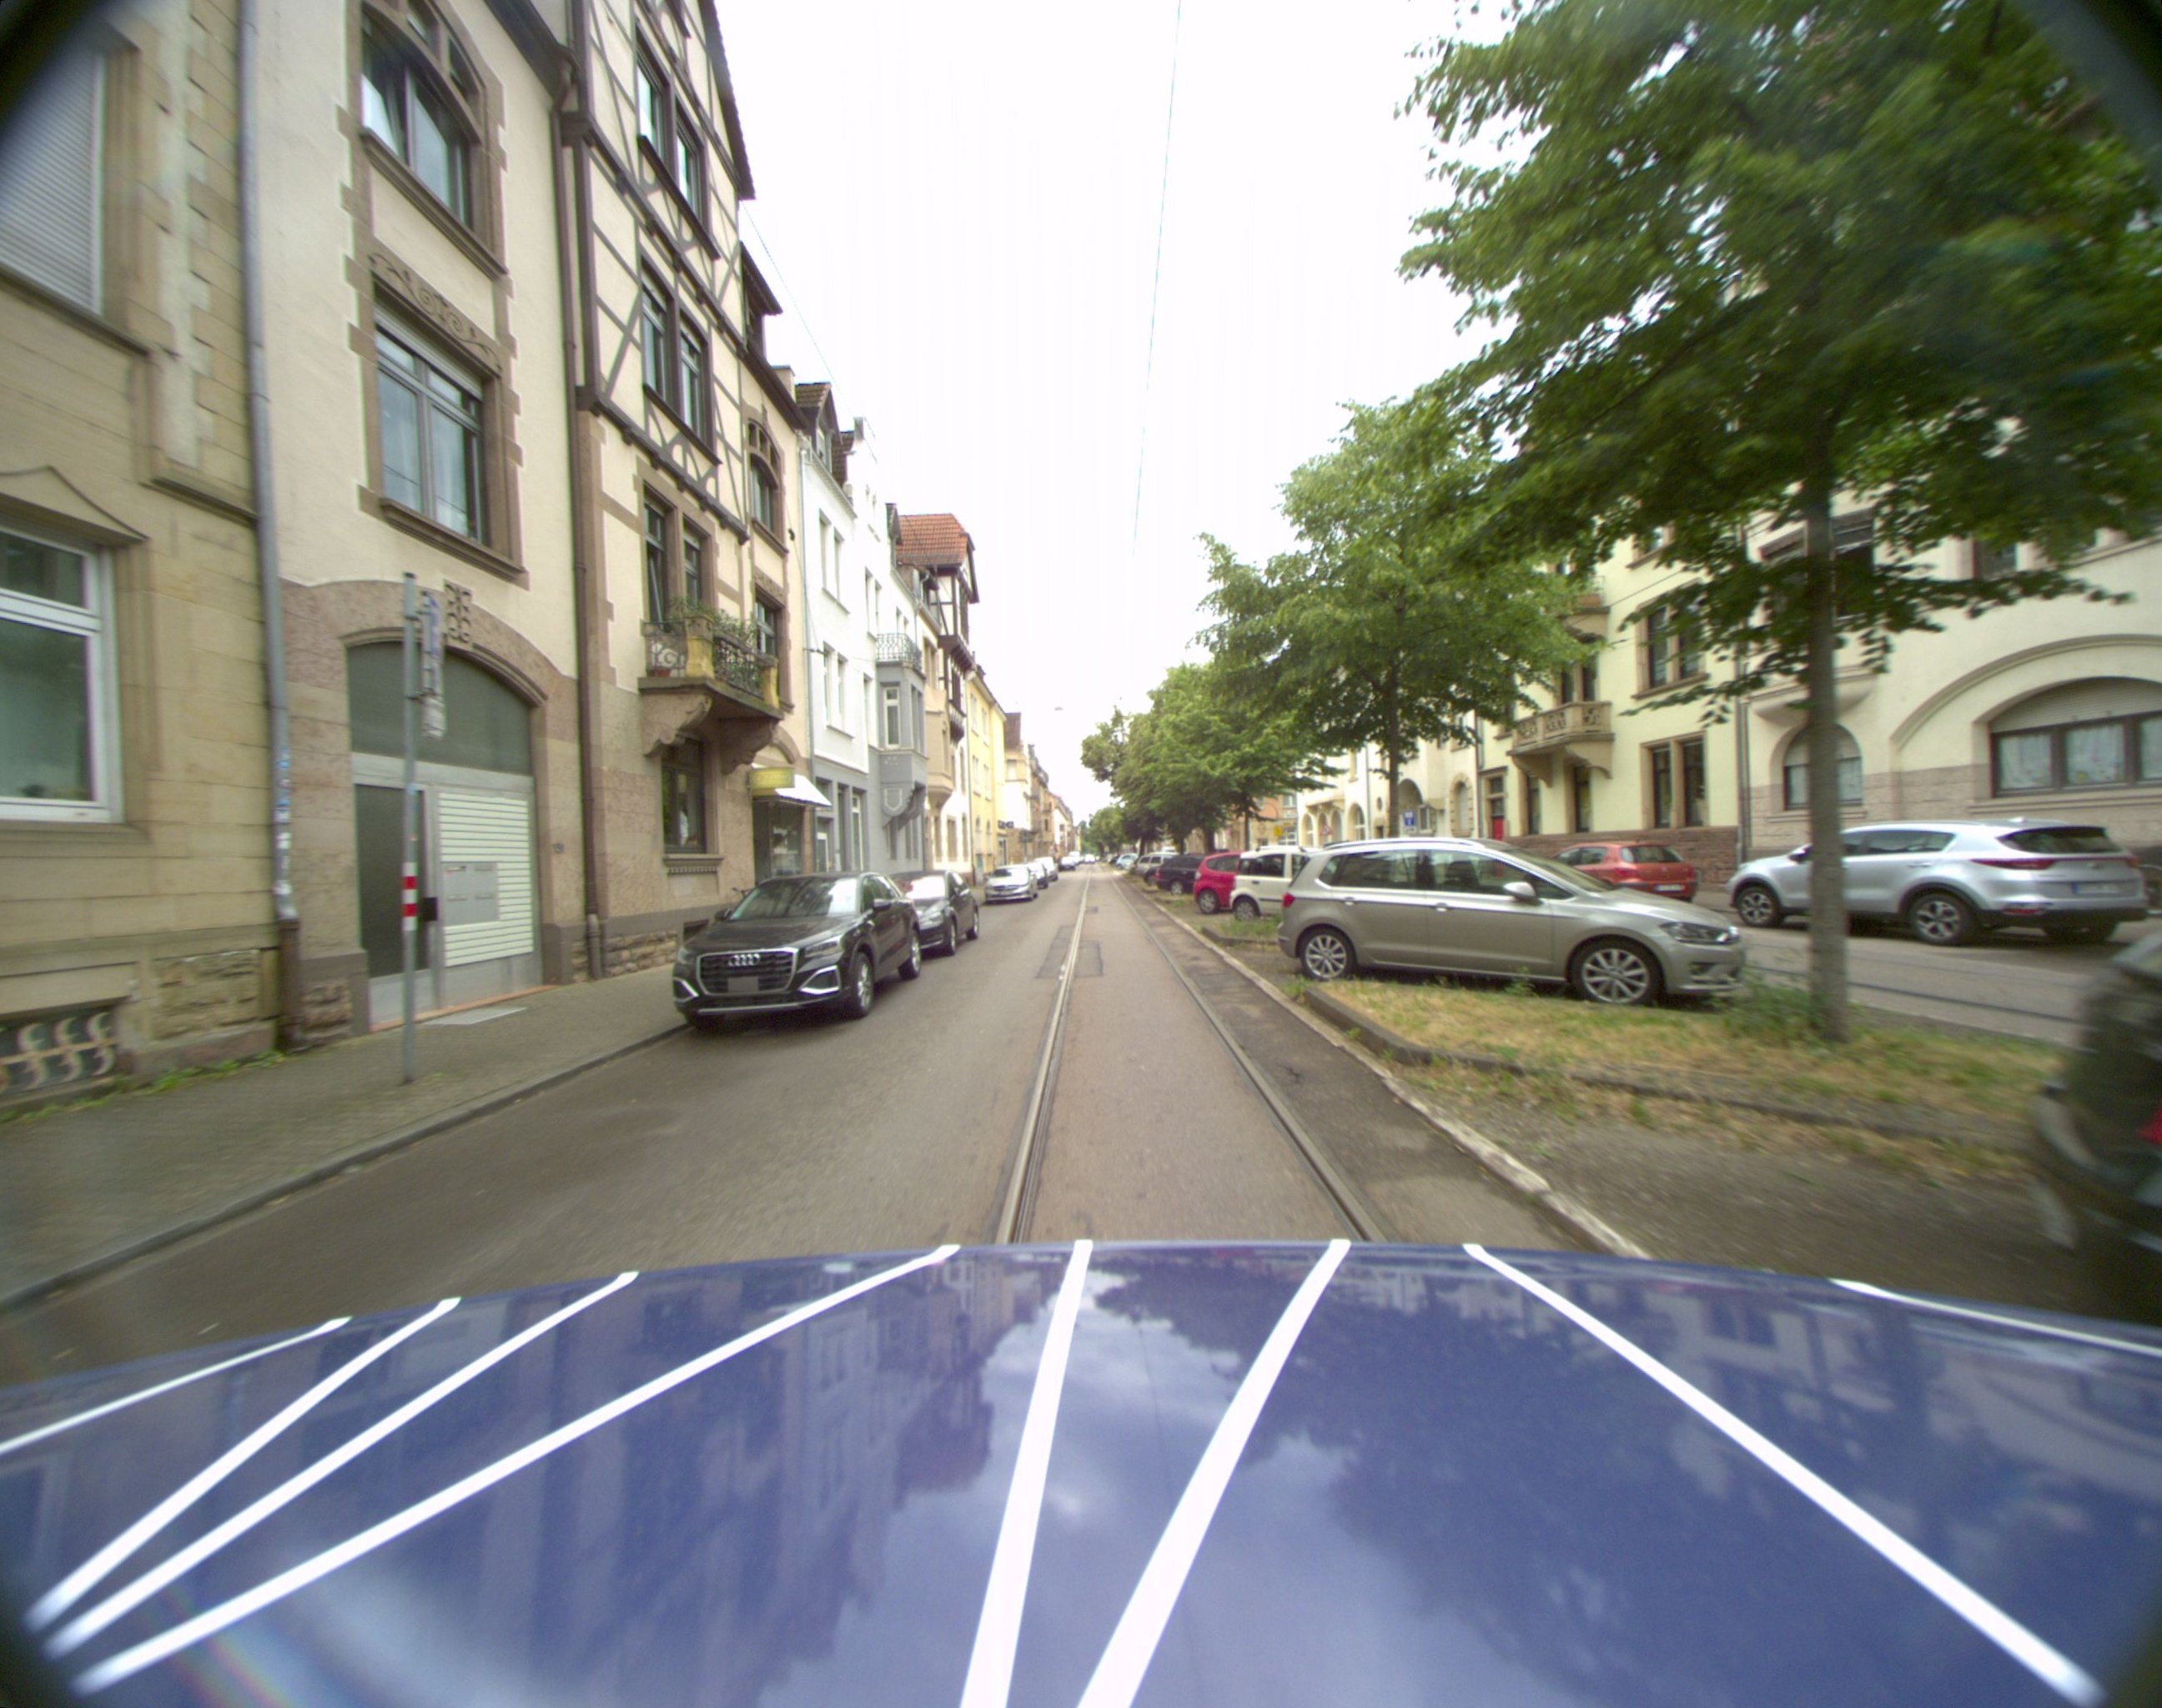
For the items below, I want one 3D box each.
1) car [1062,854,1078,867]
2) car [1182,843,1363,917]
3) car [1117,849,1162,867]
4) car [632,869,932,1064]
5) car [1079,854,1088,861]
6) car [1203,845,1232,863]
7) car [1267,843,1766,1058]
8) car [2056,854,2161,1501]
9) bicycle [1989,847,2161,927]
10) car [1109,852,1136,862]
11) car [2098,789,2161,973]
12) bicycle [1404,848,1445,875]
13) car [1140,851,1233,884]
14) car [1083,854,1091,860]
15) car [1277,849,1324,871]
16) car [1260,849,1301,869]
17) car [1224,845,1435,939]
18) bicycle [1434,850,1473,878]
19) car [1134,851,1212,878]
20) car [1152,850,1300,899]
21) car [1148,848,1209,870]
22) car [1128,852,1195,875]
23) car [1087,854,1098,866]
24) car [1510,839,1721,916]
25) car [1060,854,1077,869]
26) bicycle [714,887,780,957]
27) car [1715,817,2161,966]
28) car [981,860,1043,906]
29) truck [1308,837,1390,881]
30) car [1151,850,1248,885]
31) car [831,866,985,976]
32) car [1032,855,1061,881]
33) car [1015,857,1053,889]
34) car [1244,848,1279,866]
[{"bbox_3d":[-1.299,0.758,94.008,1.824,1.477,4.000,-2,0,1],"label":"car"},{"bbox_3d":[4.482,0.642,18.150,1.678,1.518,3.803,-4,0,-44],"label":"car"},{"bbox_3d":[5.763,0.397,74.849,3.989,1.602,1.902,-2,-1,32],"label":"car"},{"bbox_3d":[-3.092,1.047,8.966,1.702,1.504,4.419,-5,0,-1],"label":"car"},{"bbox_3d":[0.477,0.810,166.593,1.824,1.477,4.000,-2,0,1],"label":"car"},{"bbox_3d":[13.023,0.028,72.604,1.795,1.596,4.512,-2,0,-1],"label":"car"},{"bbox_3d":[4.273,0.761,7.884,4.195,1.600,1.728,-1,2,42],"label":"car"},{"bbox_3d":[4.155,0.715,0.592,1.779,1.476,3.989,-3,0,-44],"label":"car"},{"bbox_3d":[15.131,0.449,11.469,0.656,1.081,1.868,-3,0,3],"label":"bicycle"},{"bbox_3d":[6.915,0.463,126.895,3.991,1.602,1.901,-2,-1,22],"label":"car"},{"bbox_3d":[11.816,0.252,5.932,1.855,1.860,4.431,-2,0,2],"label":"car"},{"bbox_3d":[15.492,0.346,34.331,0.613,1.120,1.914,-5,0,-10],"label":"bicycle"},{"bbox_3d":[4.926,0.630,35.767,3.989,1.458,1.902,-2,-1,45],"label":"car"},{"bbox_3d":[1.624,0.661,199.059,1.824,1.477,4.000,-2,0,1],"label":"car"},{"bbox_3d":[12.640,0.338,43.965,1.639,1.169,3.380,-2,0,-1],"label":"car"},{"bbox_3d":[12.720,0.284,48.646,1.639,1.169,3.380,-2,0,-1],"label":"car"},{"bbox_3d":[4.701,0.653,14.583,3.418,1.518,1.693,-1,2,43],"label":"car"},{"bbox_3d":[15.546,0.401,31.783,0.612,1.120,1.916,-5,0,1],"label":"bicycle"},{"bbox_3d":[5.229,0.615,43.266,3.989,1.407,1.902,-2,-1,40],"label":"car"},{"bbox_3d":[4.781,0.678,25.603,1.889,1.458,4.595,-3,0,-43],"label":"car"},{"bbox_3d":[7.007,0.371,54.772,3.991,1.407,1.901,-2,-1,22],"label":"car"},{"bbox_3d":[5.294,0.634,50.067,3.989,1.407,1.902,-2,-1,40],"label":"car"},{"bbox_3d":[2.070,1.023,139.439,1.998,2.002,4.000,-2,1,1],"label":"car"},{"bbox_3d":[12.099,0.475,17.604,1.855,1.513,4.194,-2,0,-1],"label":"car"},{"bbox_3d":[-1.419,0.842,86.926,1.676,1.519,4.213,-3,1,1],"label":"car"},{"bbox_3d":[-5.952,1.190,13.620,0.422,1.091,1.588,3,0,1],"label":"bicycle"},{"bbox_3d":[11.933,0.410,10.894,1.855,1.650,4.493,-2,0,-1],"label":"car"},{"bbox_3d":[-2.646,1.093,29.986,1.793,1.504,4.214,-5,0,2],"label":"car"},{"bbox_3d":[12.448,0.198,35.764,2.150,1.845,6.065,-2,0,5],"label":"truck"},{"bbox_3d":[4.994,0.597,32.338,3.727,1.380,1.793,-2,-1,45],"label":"car"},{"bbox_3d":[-2.958,1.075,13.993,1.702,1.504,4.391,-5,0,0],"label":"car"},{"bbox_3d":[-2.321,0.929,51.470,1.635,1.519,4.213,-3,1,1],"label":"car"},{"bbox_3d":[-2.516,1.004,41.406,1.635,1.478,4.213,-5,0,1],"label":"car"},{"bbox_3d":[12.832,0.218,54.254,1.639,1.169,3.380,-2,0,-1],"label":"car"}]
